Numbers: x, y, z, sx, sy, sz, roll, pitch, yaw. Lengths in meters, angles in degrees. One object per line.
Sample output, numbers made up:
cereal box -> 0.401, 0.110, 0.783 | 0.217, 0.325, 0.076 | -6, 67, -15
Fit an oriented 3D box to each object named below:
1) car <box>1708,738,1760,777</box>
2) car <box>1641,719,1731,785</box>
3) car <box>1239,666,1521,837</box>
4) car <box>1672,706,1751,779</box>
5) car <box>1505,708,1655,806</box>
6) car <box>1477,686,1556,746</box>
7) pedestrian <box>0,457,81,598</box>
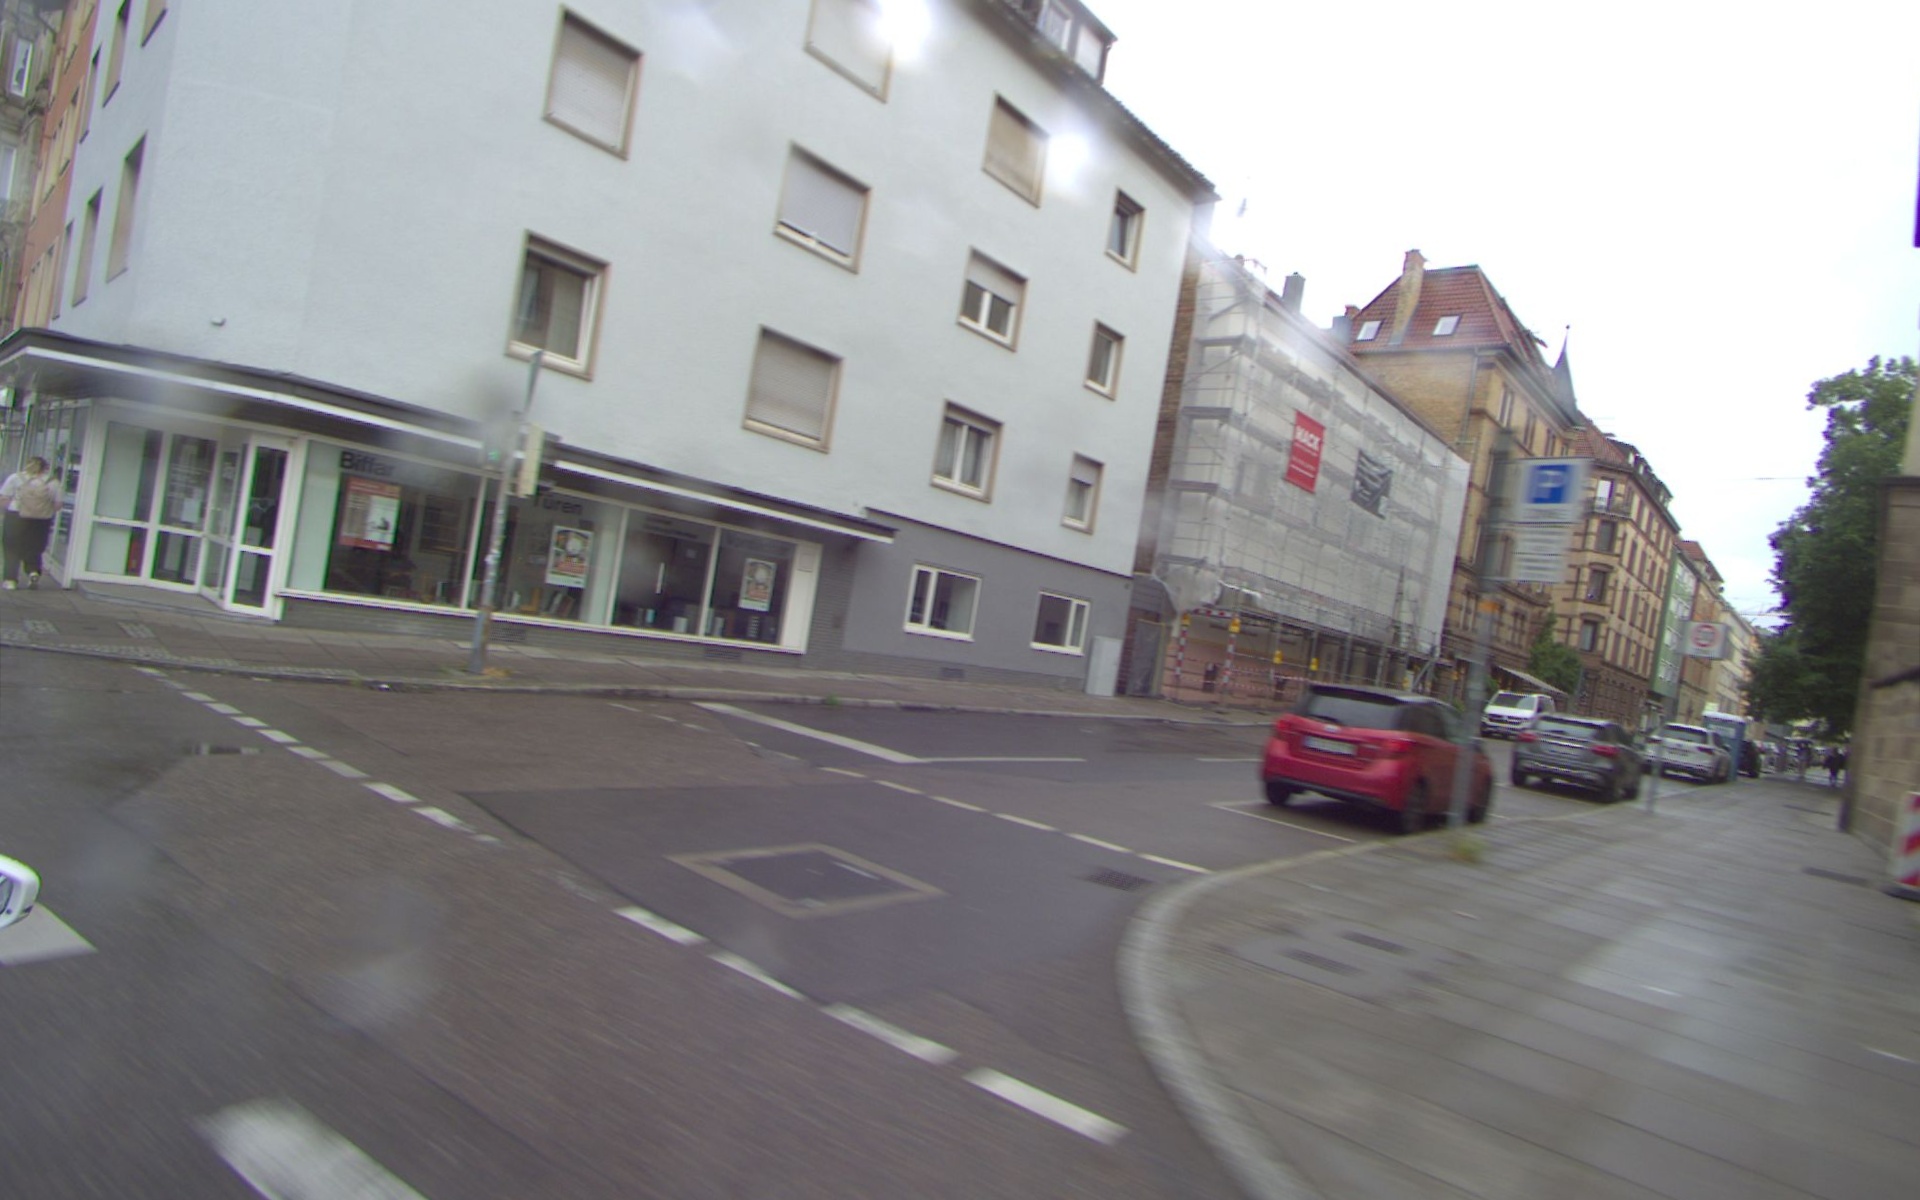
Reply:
car -> 32.624, 6.604, 42.373 | 1.423, 1.336, 3.600 | 5, -2, 41
car -> 22.236, 4.592, 30.768 | 1.808, 1.633, 3.845 | 5, -2, 41
car -> 5.129, 1.739, 12.025 | 1.743, 1.537, 3.841 | 5, -2, 44
car -> 26.406, 4.963, 35.284 | 1.808, 2.191, 3.845 | 5, -2, 41
car -> 12.273, 3.021, 19.812 | 1.808, 1.473, 3.845 | 6, -1, 41
car -> 22.653, 4.695, 40.870 | 1.808, 2.096, 4.312 | 5, -2, 41
pedestrian -> -11.365, -0.873, 12.231 | 0.750, 1.591, 0.689 | 6, -1, 31
